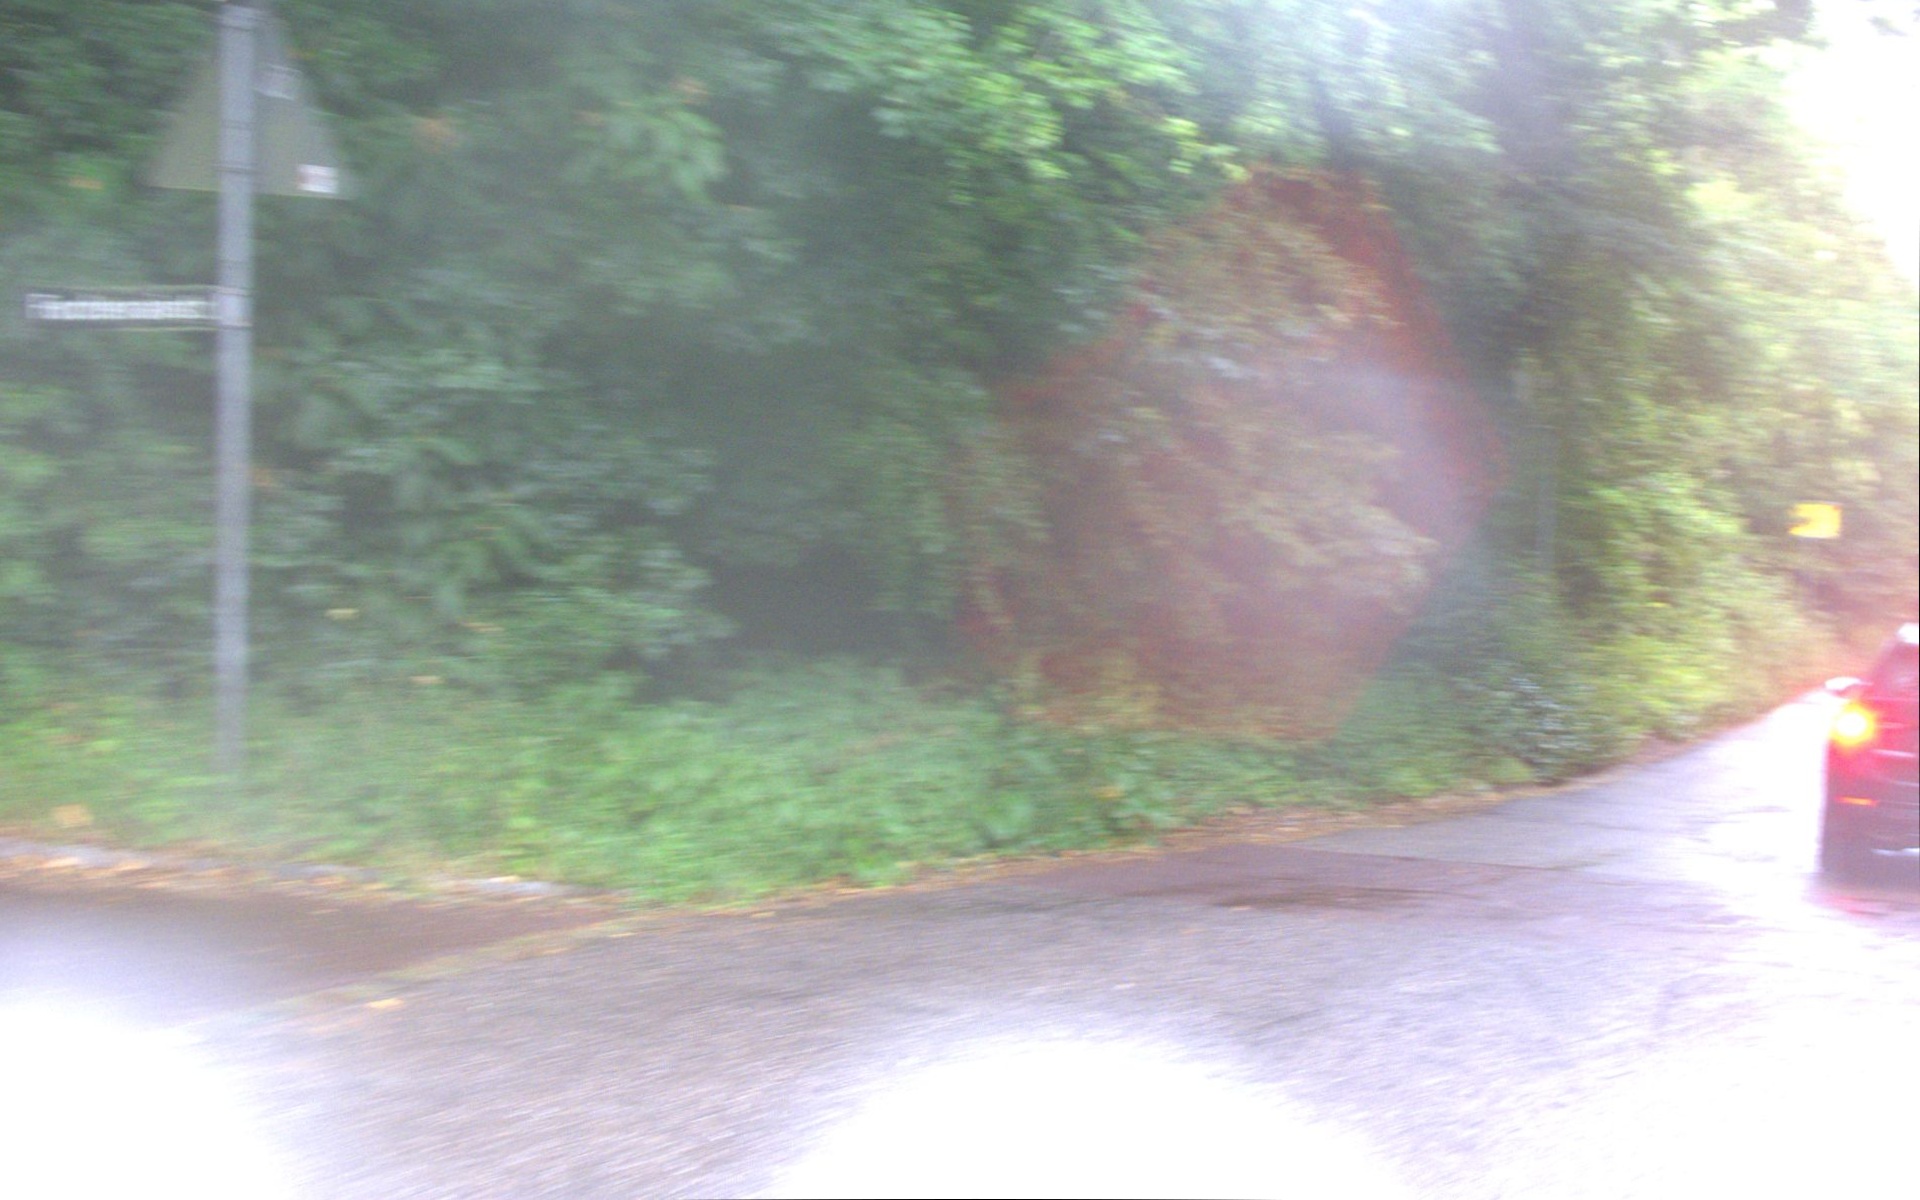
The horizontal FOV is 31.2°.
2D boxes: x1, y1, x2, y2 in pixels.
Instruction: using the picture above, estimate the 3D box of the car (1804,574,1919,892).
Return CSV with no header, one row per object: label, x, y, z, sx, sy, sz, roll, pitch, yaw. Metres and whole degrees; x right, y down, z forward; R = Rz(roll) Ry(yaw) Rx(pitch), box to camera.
car,5.955,0.725,20.057,1.701,1.445,3.997,3,4,17
